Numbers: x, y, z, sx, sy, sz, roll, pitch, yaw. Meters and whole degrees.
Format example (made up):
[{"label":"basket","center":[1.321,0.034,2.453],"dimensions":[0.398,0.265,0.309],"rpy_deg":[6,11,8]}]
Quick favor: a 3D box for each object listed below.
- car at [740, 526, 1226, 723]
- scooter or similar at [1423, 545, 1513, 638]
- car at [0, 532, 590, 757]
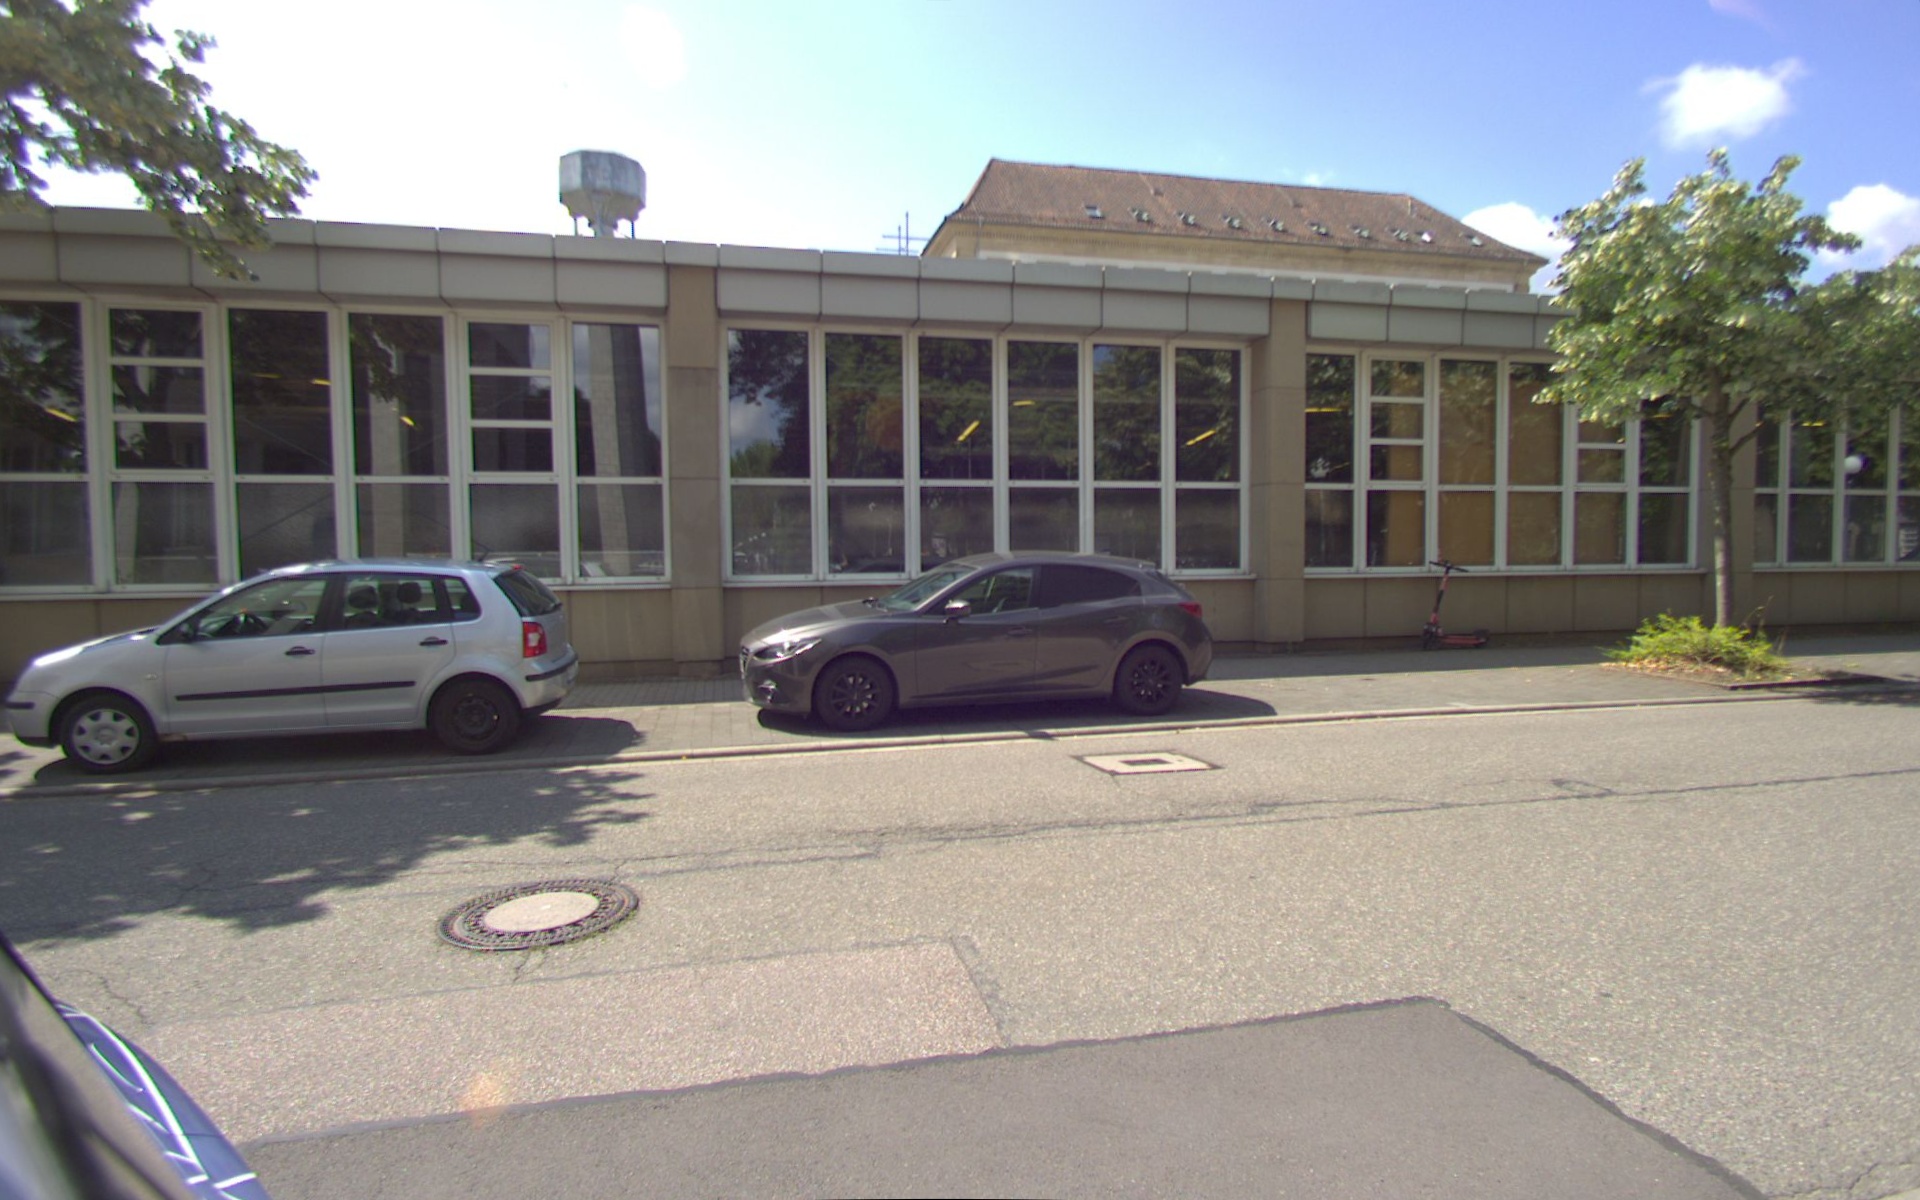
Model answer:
[{"label":"car","center":[0.143,0.109,9.292],"dimensions":[4.141,1.486,1.658],"rpy_deg":[-2,4,-13]},{"label":"scooter or similar","center":[6.934,-0.129,13.824],"dimensions":[1.140,1.235,0.290],"rpy_deg":[-1,2,-10]},{"label":"car","center":[-5.026,0.229,8.031],"dimensions":[3.716,1.486,1.658],"rpy_deg":[-1,4,-13]}]
